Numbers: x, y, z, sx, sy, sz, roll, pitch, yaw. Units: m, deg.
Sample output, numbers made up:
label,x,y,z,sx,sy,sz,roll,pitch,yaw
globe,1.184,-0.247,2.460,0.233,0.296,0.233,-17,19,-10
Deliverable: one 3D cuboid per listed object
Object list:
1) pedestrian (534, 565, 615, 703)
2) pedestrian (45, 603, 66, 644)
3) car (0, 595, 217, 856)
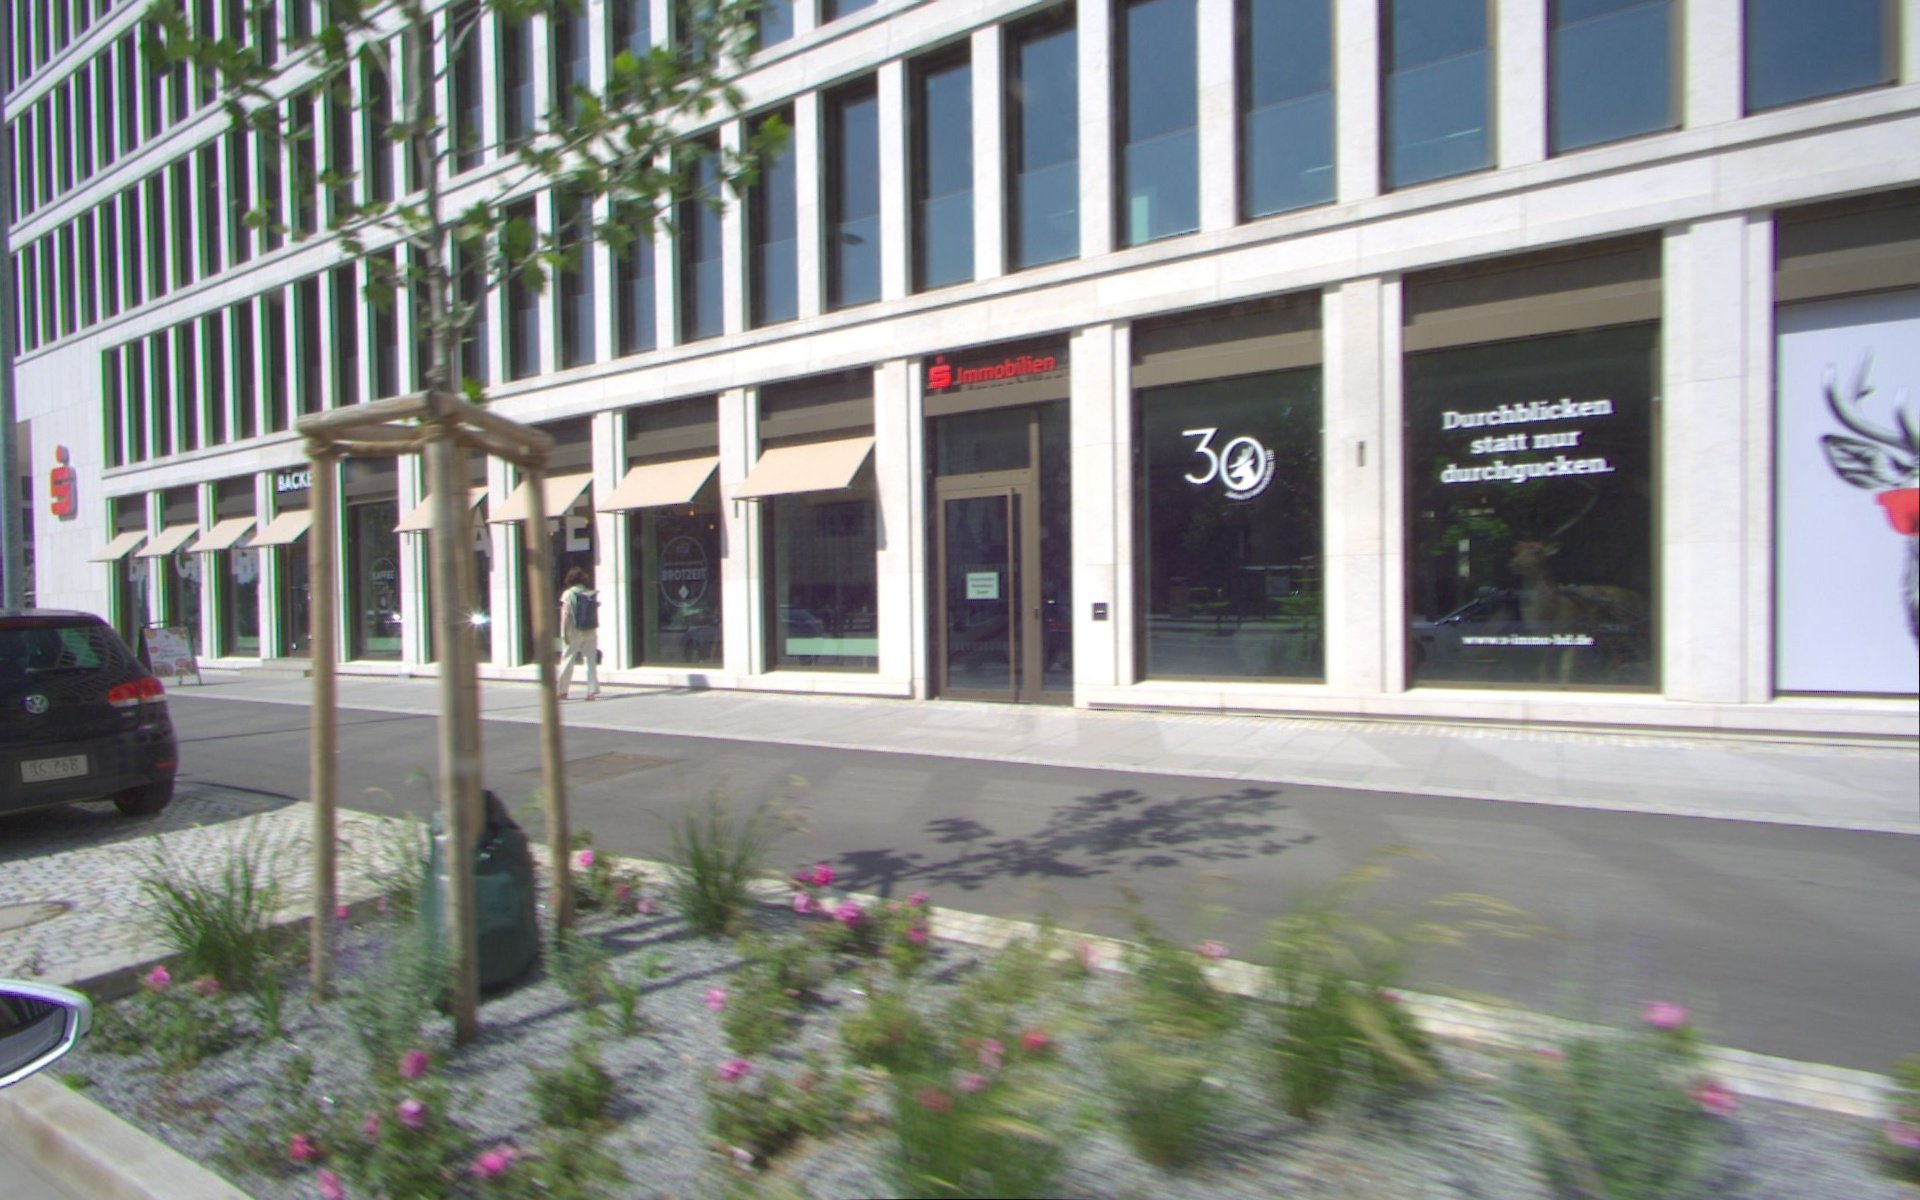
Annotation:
label,x,y,z,sx,sy,sz,roll,pitch,yaw
pedestrian,-5.110,0.433,13.273,0.802,1.765,0.626,0,1,32
pedestrian,-45.288,1.188,50.136,0.613,2.040,0.642,0,1,32
car,-7.253,0.768,7.072,3.920,1.494,1.733,-1,3,30
